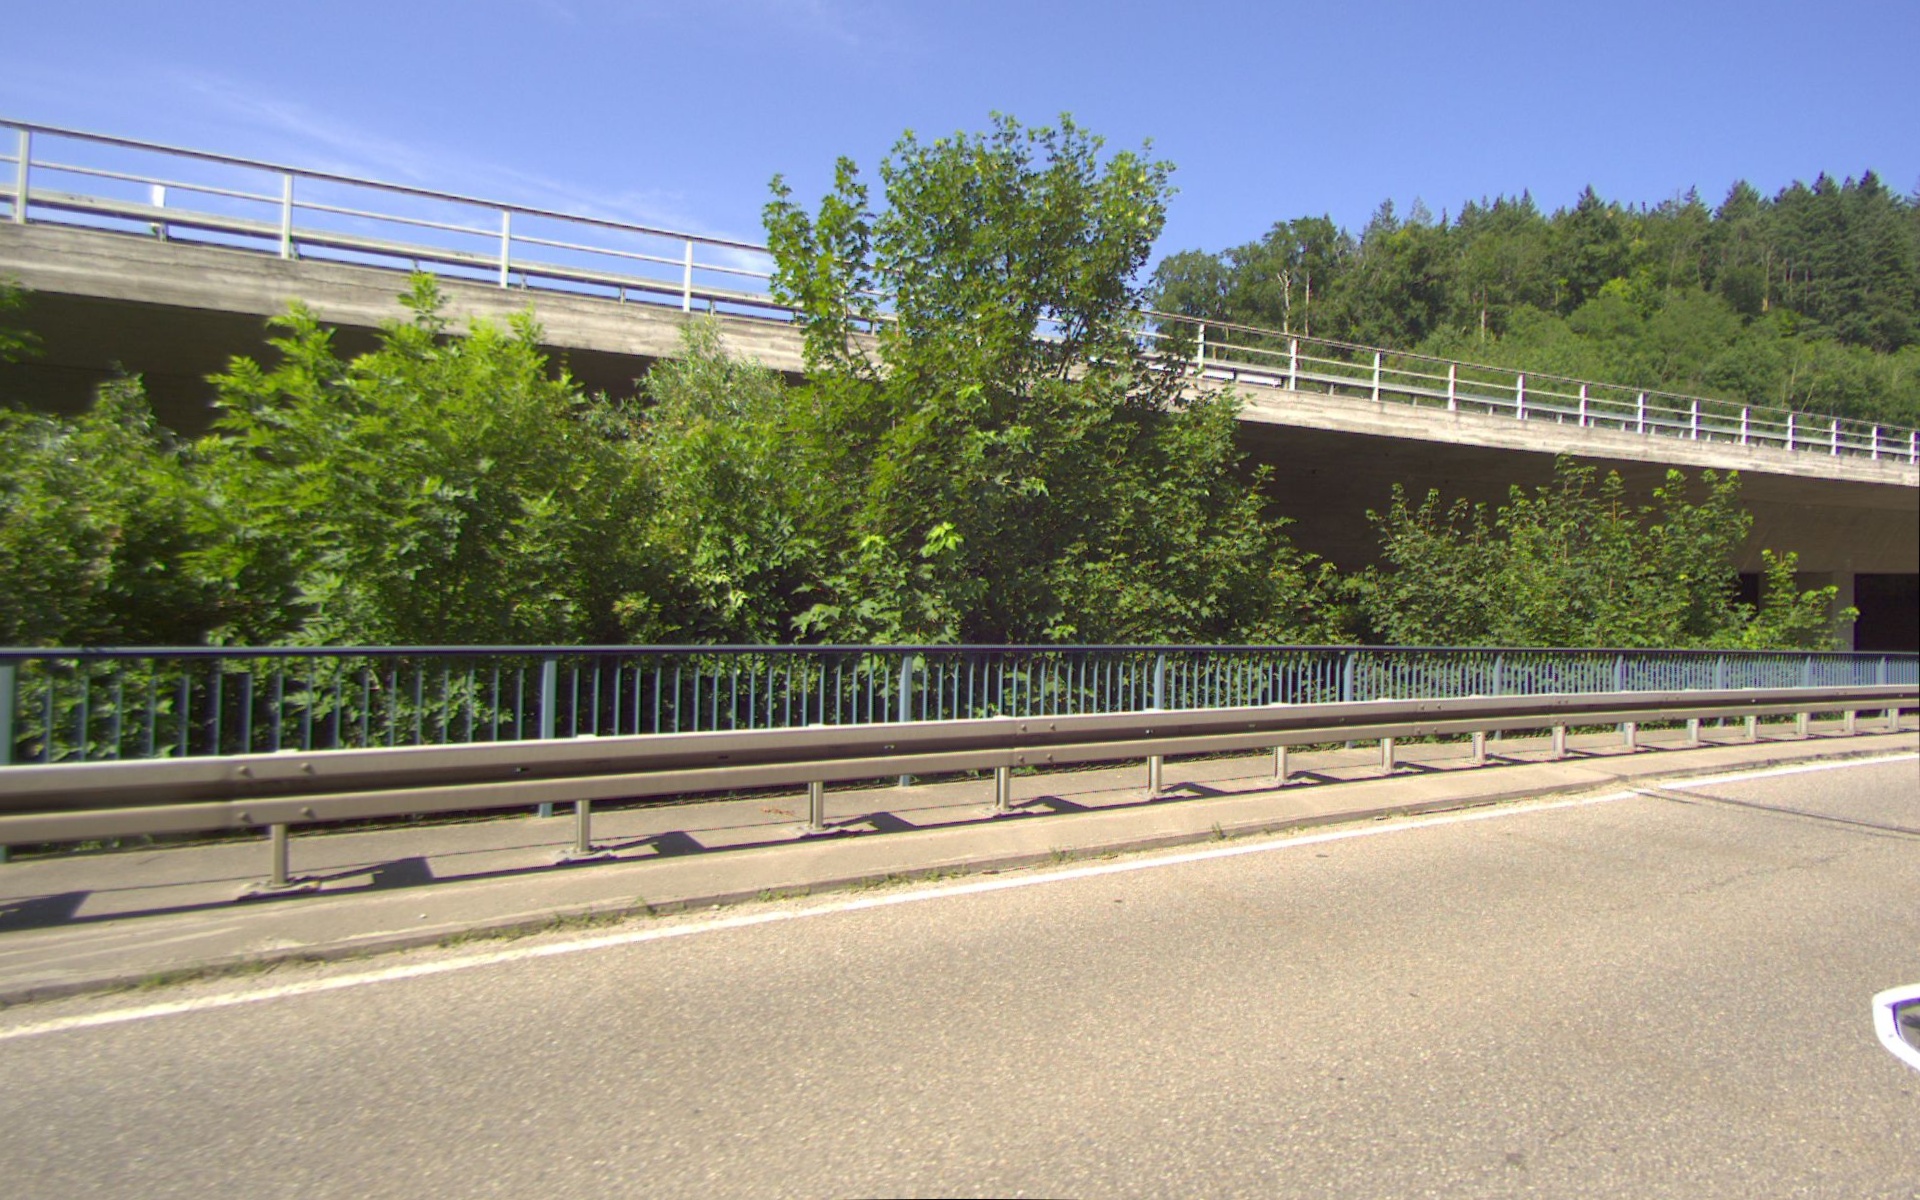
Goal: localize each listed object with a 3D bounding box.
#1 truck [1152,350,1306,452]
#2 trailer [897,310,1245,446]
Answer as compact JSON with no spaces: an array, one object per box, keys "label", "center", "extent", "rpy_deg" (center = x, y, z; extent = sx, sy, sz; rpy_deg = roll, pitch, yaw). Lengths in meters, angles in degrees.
[{"label":"truck","center":[10.108,-7.348,37.664],"extent":[5.396,2.917,2.385],"rpy_deg":[0,1,-28]},{"label":"trailer","center":[4.160,-7.364,34.590],"extent":[12.777,2.917,2.385],"rpy_deg":[0,1,-28]}]
